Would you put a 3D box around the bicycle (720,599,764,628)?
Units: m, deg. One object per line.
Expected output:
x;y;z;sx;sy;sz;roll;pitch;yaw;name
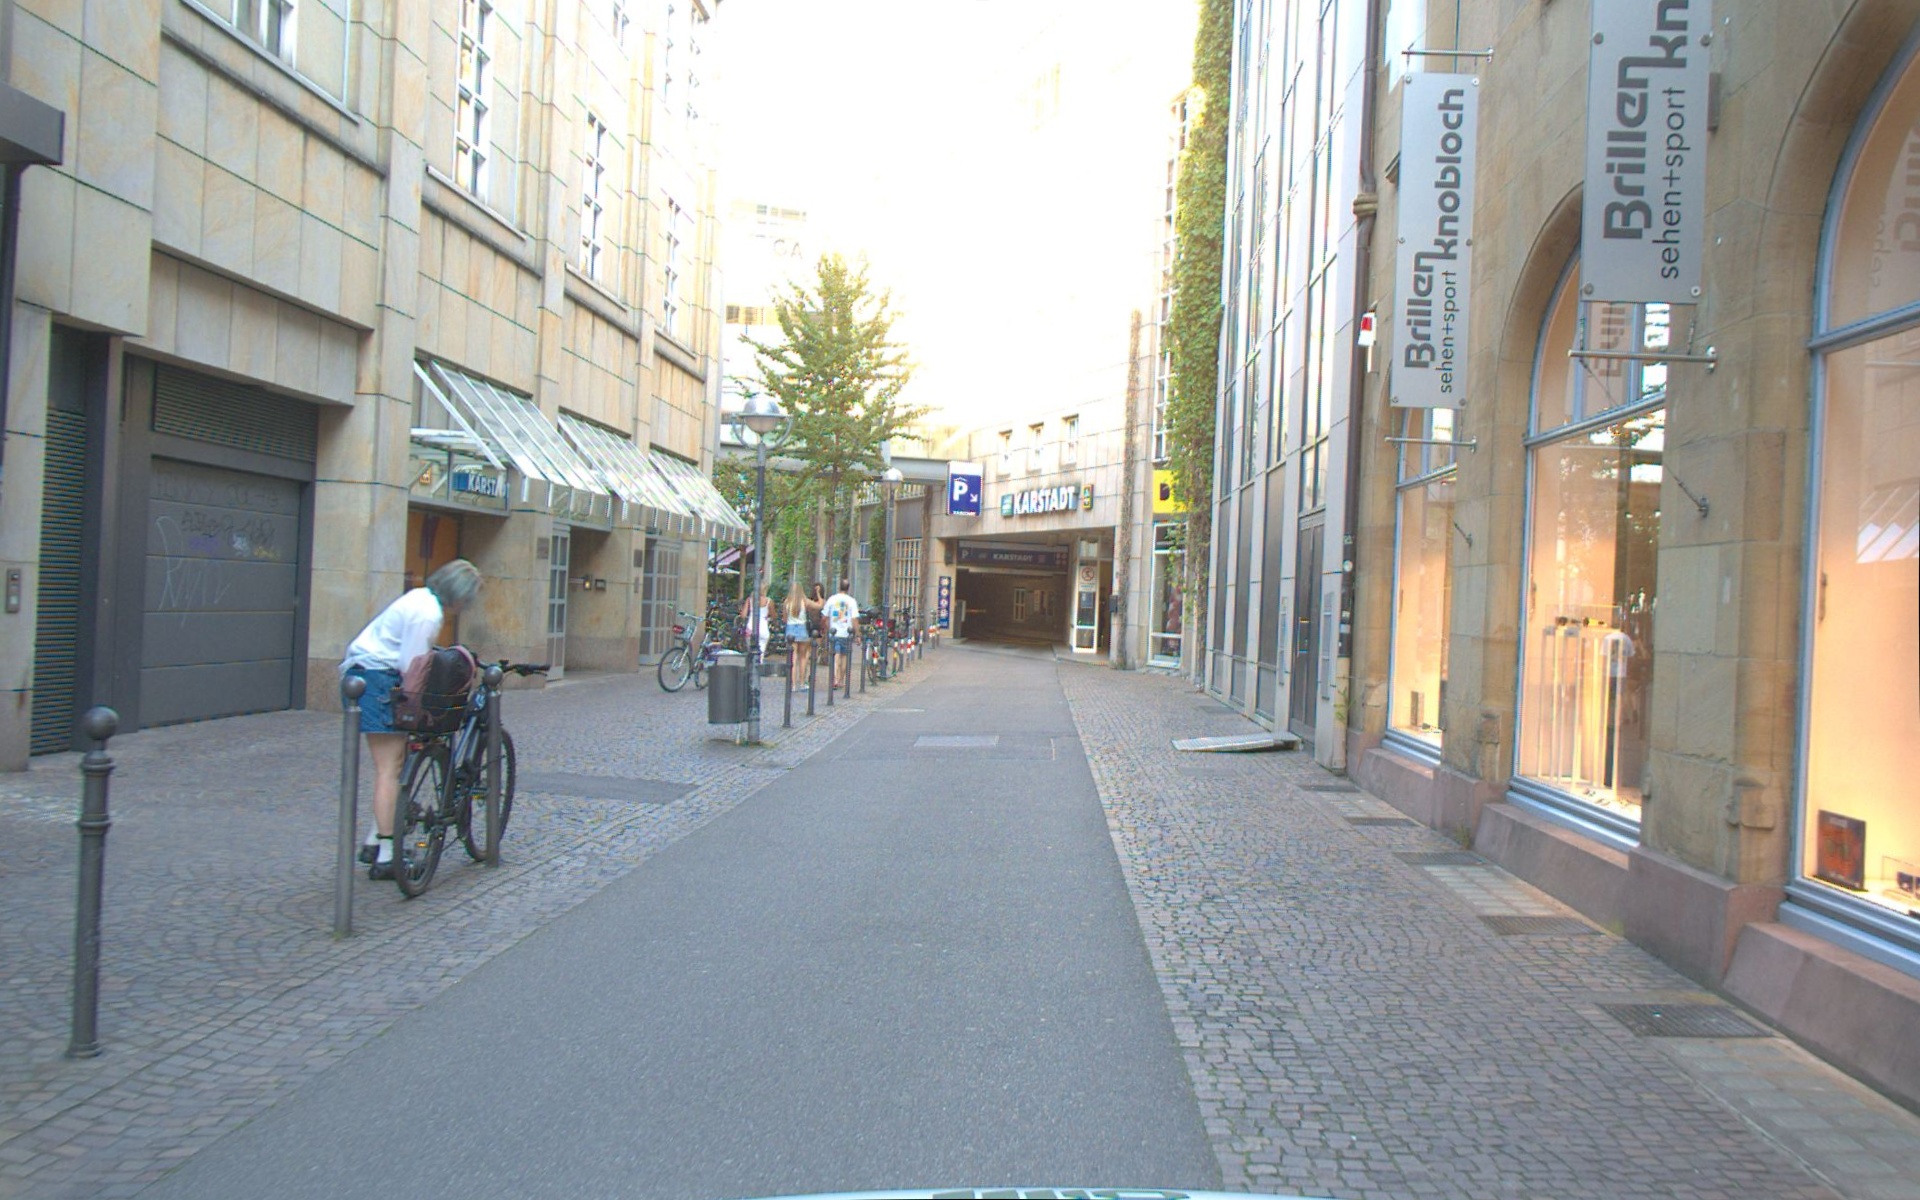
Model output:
-9.057;0.547;68.642;1.744;1.134;0.540;2;0;-16;bicycle

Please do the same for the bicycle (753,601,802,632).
-6.932;0.636;62.796;1.746;1.134;0.540;2;0;-19;bicycle

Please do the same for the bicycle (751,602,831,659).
-3.873;0.698;37.985;1.740;1.252;0.531;1;0;-21;bicycle

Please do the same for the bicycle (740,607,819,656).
-4.390;0.769;40.173;1.810;1.142;0.531;1;0;-21;bicycle

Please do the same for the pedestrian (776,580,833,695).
-2.451;0.579;26.181;0.790;1.759;0.948;2;0;-4;pedestrian

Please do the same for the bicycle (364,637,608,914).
-2.354;0.817;8.457;0.522;1.173;1.915;4;0;3;bicycle

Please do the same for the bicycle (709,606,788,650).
-5.328;0.714;41.687;1.866;1.070;0.531;1;0;-21;bicycle

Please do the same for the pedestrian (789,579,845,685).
-2.519;0.559;29.234;0.768;1.826;0.973;2;0;6;pedestrian

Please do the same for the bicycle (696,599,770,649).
-5.811;0.612;42.377;1.806;1.246;0.531;1;0;-21;bicycle

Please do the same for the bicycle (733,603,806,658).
-4.532;0.720;39.285;1.629;1.252;0.531;1;0;-21;bicycle

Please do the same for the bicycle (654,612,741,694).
-3.899;0.773;24.716;0.510;1.158;1.765;2;0;18;bicycle

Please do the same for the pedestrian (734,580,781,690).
-3.207;0.542;26.209;0.662;1.693;0.859;2;0;-8;pedestrian

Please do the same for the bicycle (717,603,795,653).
-5.071;0.689;41.149;1.845;1.198;0.531;1;0;-21;bicycle

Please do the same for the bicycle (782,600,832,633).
-5.590;0.605;60.497;1.746;1.134;0.540;2;0;-19;bicycle

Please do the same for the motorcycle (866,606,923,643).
-1.992;0.740;50.095;1.637;1.069;0.461;2;0;-19;motorcycle

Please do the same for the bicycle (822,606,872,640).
-3.657;0.746;53.576;1.516;1.067;0.572;2;0;-19;bicycle

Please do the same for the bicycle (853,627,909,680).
-1.497;1.002;31.460;0.482;0.955;1.660;3;0;17;bicycle

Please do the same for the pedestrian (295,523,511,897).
-2.757;0.525;8.247;0.752;1.748;0.592;4;0;2;pedestrian

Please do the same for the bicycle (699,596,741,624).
-10.727;0.439;73.891;1.746;1.211;0.583;2;0;-19;bicycle

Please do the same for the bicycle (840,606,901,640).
-2.792;0.730;51.747;1.819;0.999;0.461;2;0;-19;bicycle

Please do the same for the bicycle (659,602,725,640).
-7.783;0.618;47.985;1.798;1.061;0.531;1;0;-21;bicycle

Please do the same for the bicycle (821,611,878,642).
-3.508;0.838;52.496;1.746;0.920;0.461;2;0;-19;bicycle

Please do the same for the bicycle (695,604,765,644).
-6.427;0.672;46.183;1.849;1.061;0.531;1;0;-21;bicycle

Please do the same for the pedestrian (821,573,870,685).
-1.958;0.485;28.155;0.728;1.854;0.877;2;0;-8;pedestrian
